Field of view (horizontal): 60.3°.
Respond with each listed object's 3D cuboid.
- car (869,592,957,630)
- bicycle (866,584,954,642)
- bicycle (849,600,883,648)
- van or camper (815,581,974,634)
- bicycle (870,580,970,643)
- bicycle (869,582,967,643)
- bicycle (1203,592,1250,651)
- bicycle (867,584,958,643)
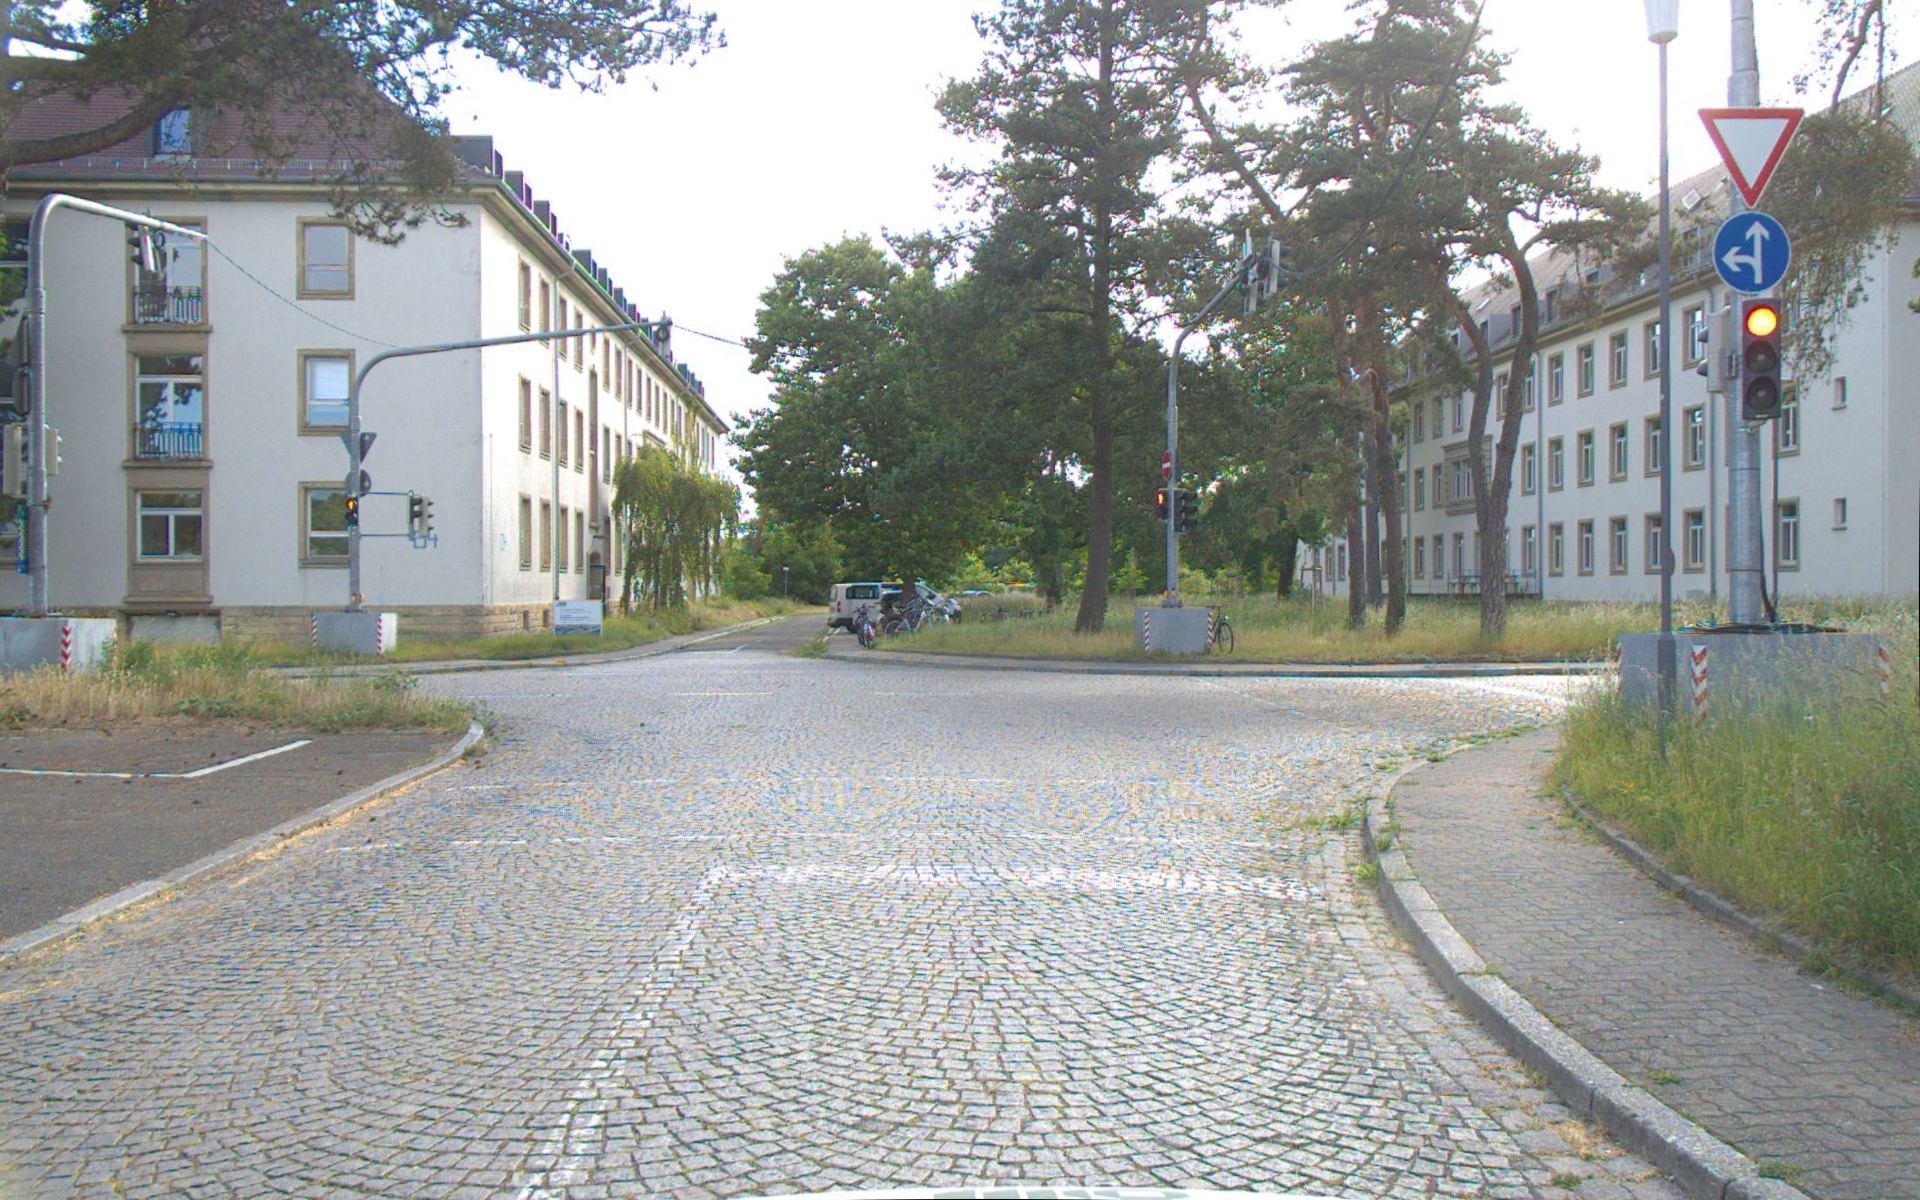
[{"bbox_3d":[-1.762,0.404,61.061,3.079,1.378,1.617,0,0,-9],"label":"car"},{"bbox_3d":[-1.601,0.410,52.767,2.719,1.723,1.120,2,0,-2],"label":"bicycle"},{"bbox_3d":[-2.392,0.602,42.336,0.711,1.127,2.461,-5,0,-2],"label":"bicycle"},{"bbox_3d":[-2.555,0.272,64.598,5.936,1.983,1.991,0,0,-17],"label":"van or camper"},{"bbox_3d":[-1.138,0.321,46.688,2.724,1.723,1.118,0,0,-9],"label":"bicycle"},{"bbox_3d":[-1.222,0.344,47.879,2.725,1.723,1.117,0,0,-11],"label":"bicycle"},{"bbox_3d":[5.662,0.445,35.250,0.709,1.189,2.738,1,0,3],"label":"bicycle"},{"bbox_3d":[-1.453,0.429,51.435,2.718,1.723,1.120,2,0,1],"label":"bicycle"}]
